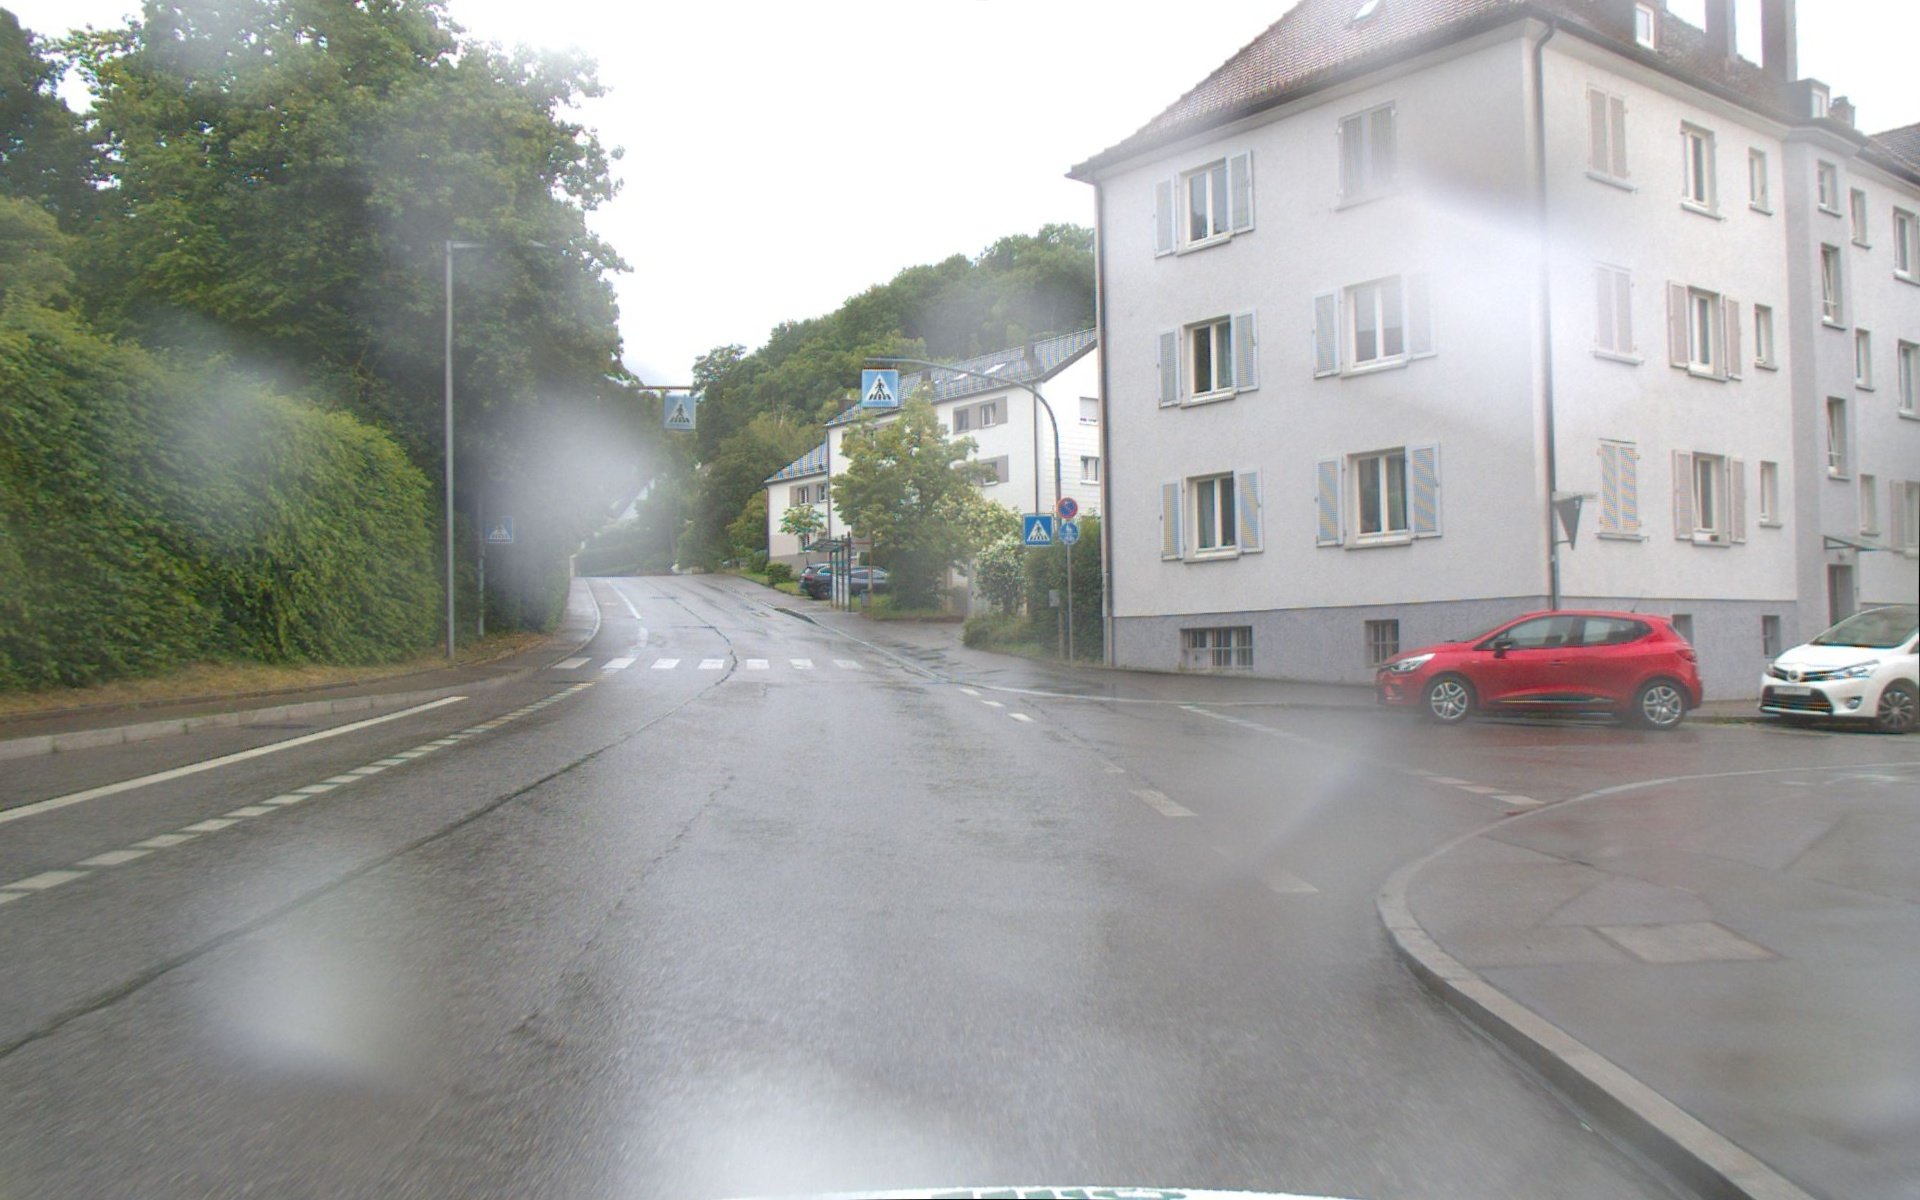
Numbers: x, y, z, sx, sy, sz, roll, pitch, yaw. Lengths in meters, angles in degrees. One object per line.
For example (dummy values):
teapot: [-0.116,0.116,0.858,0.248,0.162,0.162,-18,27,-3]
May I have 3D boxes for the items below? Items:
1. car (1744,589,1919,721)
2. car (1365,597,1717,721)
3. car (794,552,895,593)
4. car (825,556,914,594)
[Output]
car: [12.740,0.681,21.963,4.160,1.617,1.716,0,1,-18]
car: [7.324,0.717,21.211,3.993,1.432,1.726,1,1,8]
car: [-5.499,-1.320,78.607,4.460,1.689,1.845,-3,3,-20]
car: [-4.042,-1.126,73.668,3.682,1.483,1.718,-3,3,-15]
